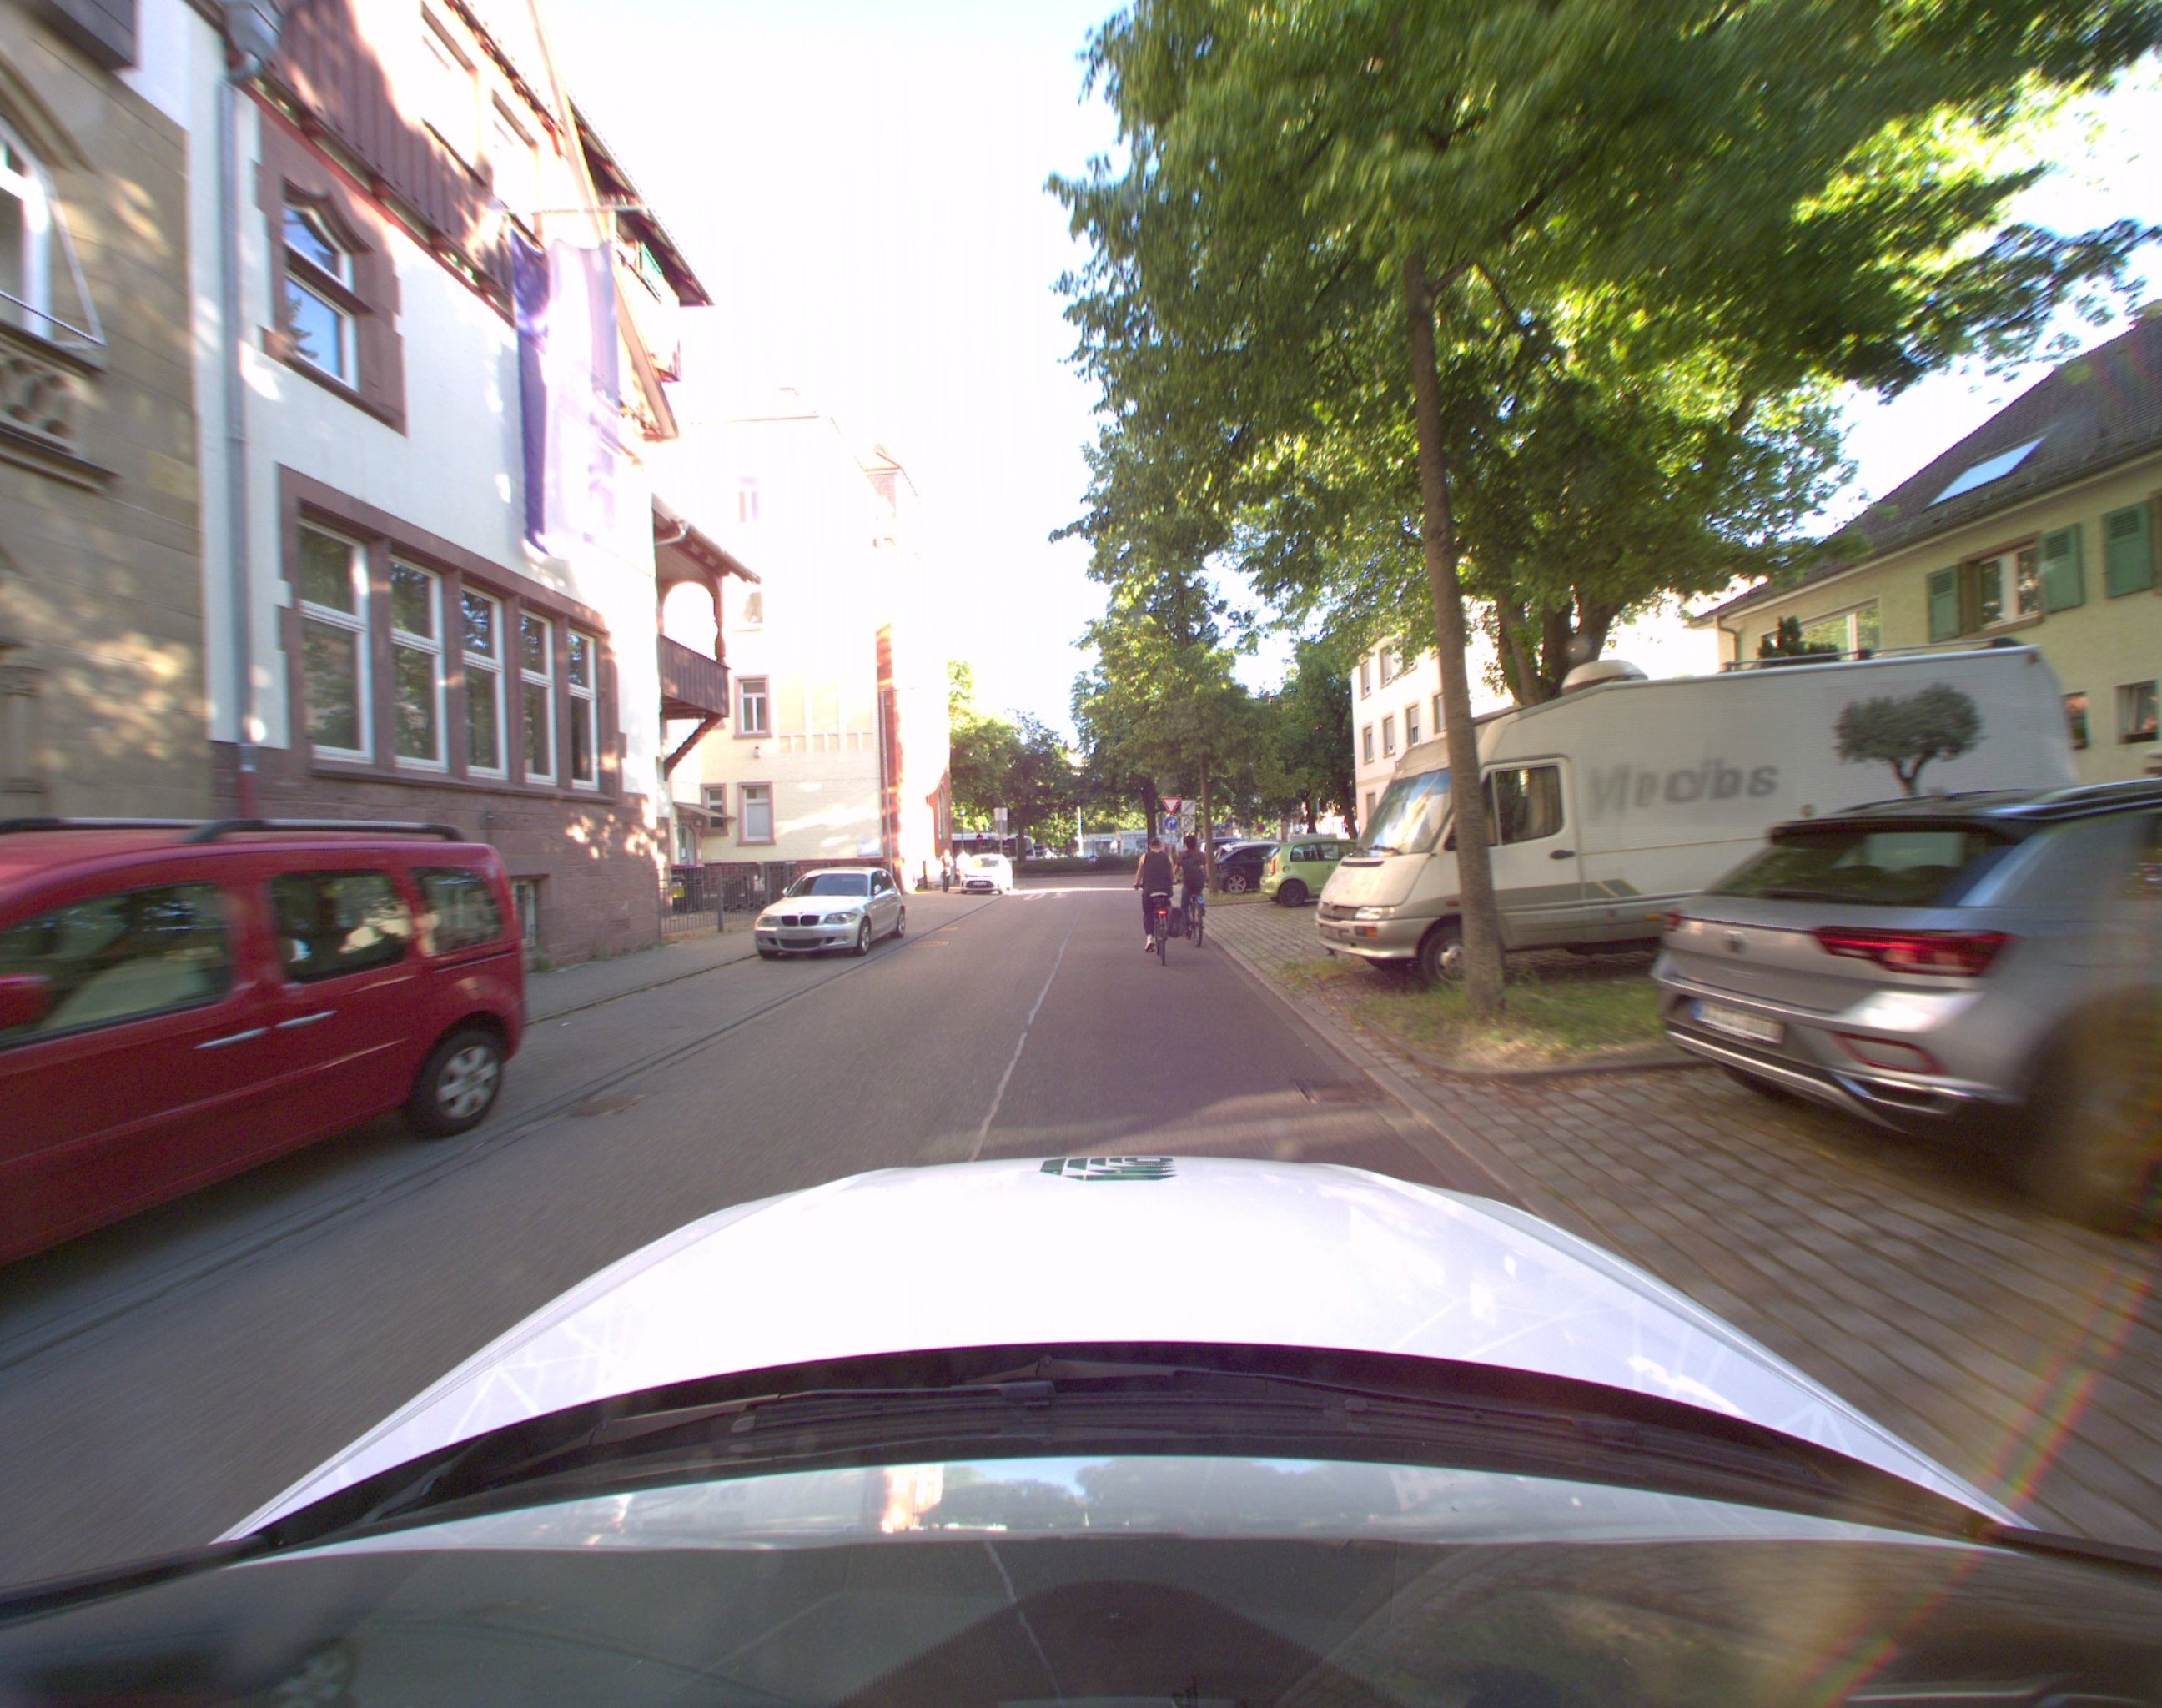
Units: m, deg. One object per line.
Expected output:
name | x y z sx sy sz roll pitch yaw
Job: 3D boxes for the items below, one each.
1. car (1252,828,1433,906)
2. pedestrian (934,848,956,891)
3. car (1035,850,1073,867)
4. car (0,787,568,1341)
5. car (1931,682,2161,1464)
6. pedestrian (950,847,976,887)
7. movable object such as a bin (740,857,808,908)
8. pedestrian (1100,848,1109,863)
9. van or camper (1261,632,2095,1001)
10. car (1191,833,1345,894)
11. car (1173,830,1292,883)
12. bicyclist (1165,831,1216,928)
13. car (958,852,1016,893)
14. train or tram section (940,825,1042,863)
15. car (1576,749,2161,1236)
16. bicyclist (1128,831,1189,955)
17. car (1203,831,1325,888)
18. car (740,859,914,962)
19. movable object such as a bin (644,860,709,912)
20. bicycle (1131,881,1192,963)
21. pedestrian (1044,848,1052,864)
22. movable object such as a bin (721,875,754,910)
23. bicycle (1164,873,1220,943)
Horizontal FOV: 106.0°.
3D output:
car | 5.895 0.275 18.640 3.575 1.505 1.679 -3 1 2
pedestrian | -5.228 0.578 31.332 0.598 1.605 0.855 -2 0 1
car | -3.231 0.504 97.633 4.005 1.870 1.984 -2 0 -24
car | -4.598 0.727 3.593 1.791 1.907 4.327 -1 0 2
car | 4.289 0.342 1.301 3.900 1.744 1.730 -5 -1 1
pedestrian | -4.938 0.534 34.212 0.864 1.643 0.861 -2 0 1
movable object such as a bin | -8.252 0.769 21.950 1.367 1.299 0.971 -2 0 11
pedestrian | 2.540 0.142 88.325 0.809 1.543 0.818 0 0 -10
van or camper | 5.757 -0.367 8.655 7.056 3.077 2.464 -2 0 -1
car | 5.427 0.268 24.042 4.089 1.411 1.793 -5 0 1
car | 5.776 0.073 31.327 4.096 1.712 2.022 -3 1 -3
bicyclist | 1.795 0.417 13.499 0.669 1.514 1.069 -2 -1 2
car | -3.645 0.690 32.039 1.698 1.485 3.799 0 0 2
train or tram section | -7.854 -0.866 70.916 8.448 3.177 2.842 0 0 -21
car | 4.834 0.354 3.655 3.945 1.598 1.905 -5 -1 4
bicyclist | 1.095 0.532 11.673 0.749 1.682 0.914 -2 0 2
car | 5.926 0.172 26.747 3.675 1.651 1.706 -2 0 5
car | -4.249 0.861 14.322 1.738 1.466 4.102 -1 0 0
movable object such as a bin | -10.977 0.856 22.116 1.378 1.317 0.686 -2 0 -6
bicycle | 1.115 0.917 11.675 0.735 1.012 2.062 0 0 2
pedestrian | -3.446 0.244 85.903 0.704 1.695 0.666 0 0 -20
movable object such as a bin | -9.098 1.009 21.557 0.477 0.879 0.675 -2 0 11
bicycle | 1.820 0.858 13.657 0.671 1.054 2.061 -2 -1 1
